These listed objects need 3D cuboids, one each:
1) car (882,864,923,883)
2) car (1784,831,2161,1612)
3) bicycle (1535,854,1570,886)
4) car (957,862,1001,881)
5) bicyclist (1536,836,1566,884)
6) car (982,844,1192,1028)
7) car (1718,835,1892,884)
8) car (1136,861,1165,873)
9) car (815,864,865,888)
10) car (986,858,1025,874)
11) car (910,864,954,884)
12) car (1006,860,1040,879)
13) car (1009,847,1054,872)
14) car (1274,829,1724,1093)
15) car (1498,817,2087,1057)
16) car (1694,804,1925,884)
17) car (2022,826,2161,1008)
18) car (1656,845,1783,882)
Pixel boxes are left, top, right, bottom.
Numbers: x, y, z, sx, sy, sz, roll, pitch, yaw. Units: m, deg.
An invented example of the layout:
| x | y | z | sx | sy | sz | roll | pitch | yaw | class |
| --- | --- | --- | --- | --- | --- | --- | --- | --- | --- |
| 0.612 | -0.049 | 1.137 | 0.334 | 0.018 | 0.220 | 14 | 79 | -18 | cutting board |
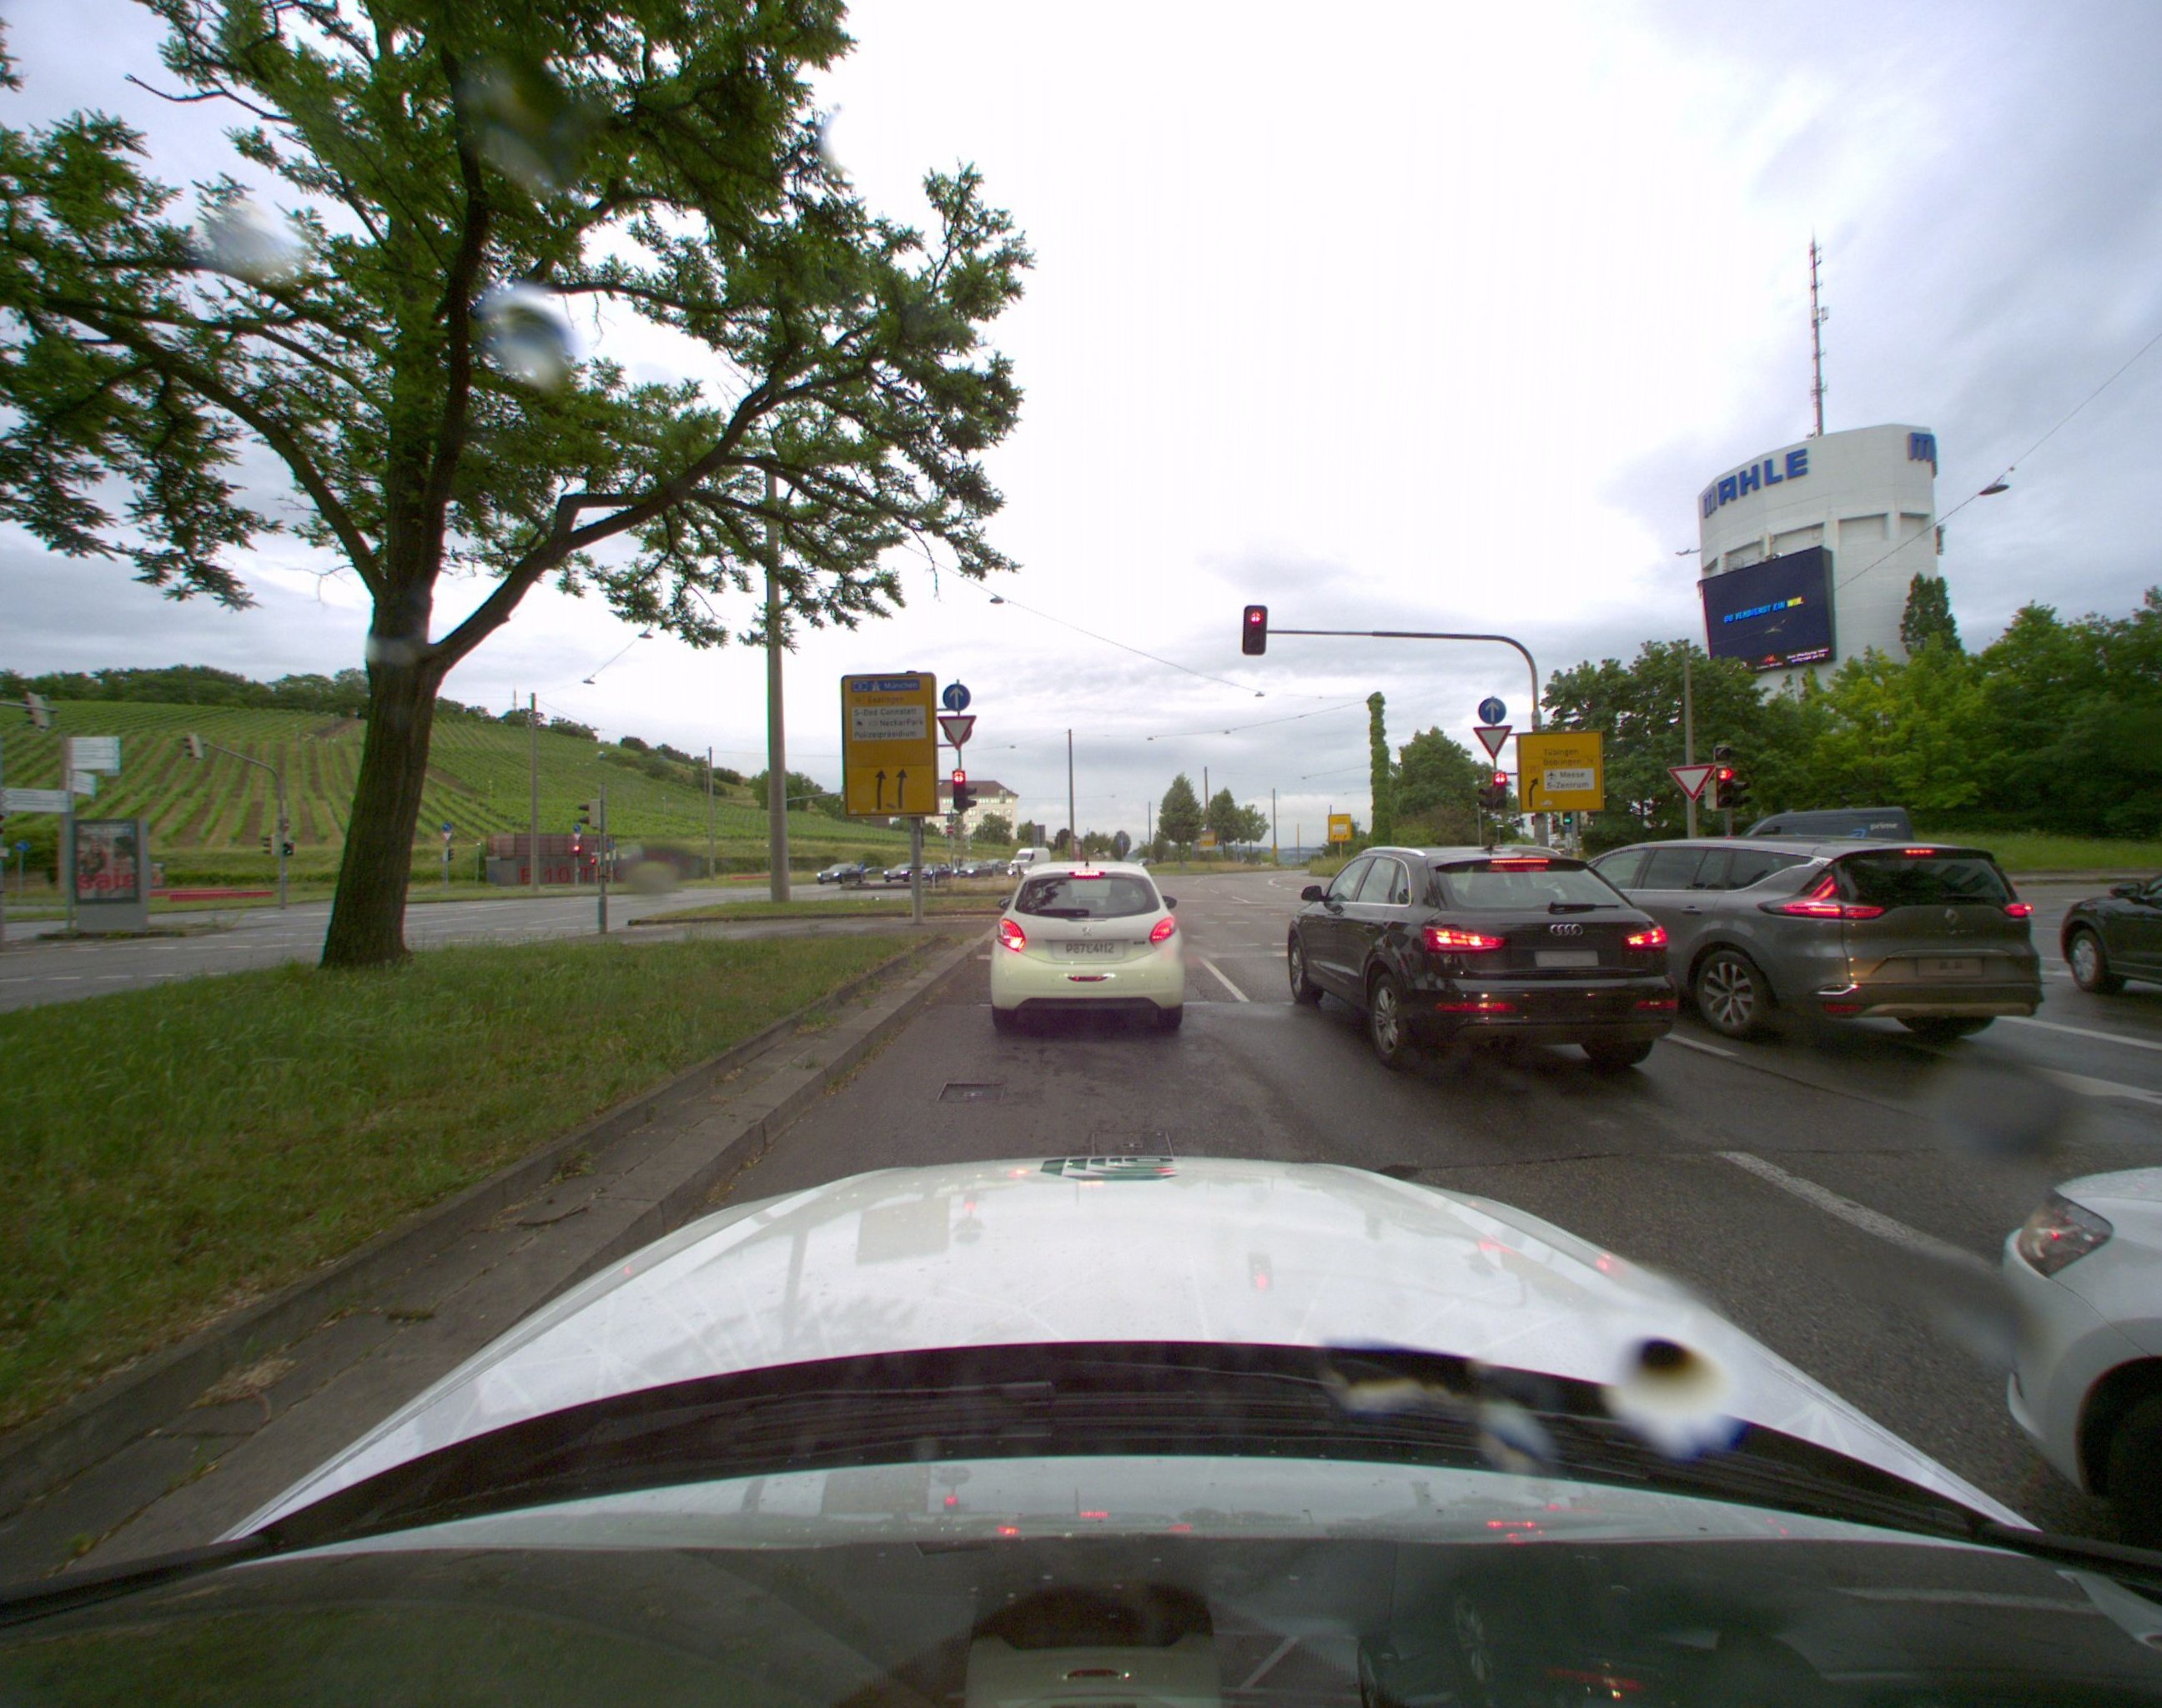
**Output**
| x | y | z | sx | sy | sz | roll | pitch | yaw | class |
| --- | --- | --- | --- | --- | --- | --- | --- | --- | --- |
| -13.502 | 1.469 | 61.841 | 1.777 | 1.395 | 3.889 | 0 | -2 | 7 | car |
| 2.826 | 0.670 | 0.414 | 1.734 | 1.432 | 3.813 | 1 | -1 | 2 | car |
| 15.879 | 0.520 | 27.478 | 0.801 | 1.023 | 2.342 | -2 | -1 | 25 | bicycle |
| -8.320 | 1.408 | 67.027 | 1.887 | 1.489 | 4.912 | 0 | -1 | 15 | car |
| 15.872 | 0.216 | 27.514 | 0.801 | 1.584 | 1.029 | 0 | -1 | 27 | bicyclist |
| 0.086 | 0.693 | 8.654 | 1.712 | 1.489 | 4.000 | 0 | -1 | 1 | car |
| 24.334 | 0.238 | 27.592 | 4.012 | 1.569 | 1.881 | -1 | -2 | 25 | car |
| 9.272 | 1.705 | 108.408 | 1.974 | 1.513 | 4.258 | 0 | -1 | 37 | car |
| -17.481 | 1.567 | 59.292 | 1.820 | 1.624 | 4.574 | 1 | -1 | 7 | car |
| -7.325 | 1.179 | 79.358 | 1.975 | 1.576 | 4.219 | 0 | -1 | 24 | car |
| -10.702 | 1.440 | 58.705 | 1.774 | 1.395 | 3.894 | 0 | -2 | 12 | car |
| -4.477 | 1.192 | 63.343 | 1.766 | 1.425 | 4.382 | -2 | -1 | 7 | car |
| -5.185 | 0.590 | 86.377 | 1.975 | 2.559 | 6.206 | 0 | -1 | 26 | car |
| 3.054 | 0.680 | 7.056 | 1.877 | 1.595 | 4.114 | 1 | -1 | 1 | car |
| 6.188 | 0.565 | 8.021 | 1.859 | 1.674 | 4.565 | 0 | 0 | 0 | car |
| 26.456 | -0.274 | 29.939 | 5.953 | 2.741 | 2.094 | -1 | -2 | 28 | car |
| 10.315 | 0.547 | 6.814 | 1.847 | 1.497 | 4.178 | -4 | 1 | 30 | car |
| 28.307 | 0.438 | 36.275 | 4.094 | 1.564 | 1.881 | -1 | -1 | 22 | car |
